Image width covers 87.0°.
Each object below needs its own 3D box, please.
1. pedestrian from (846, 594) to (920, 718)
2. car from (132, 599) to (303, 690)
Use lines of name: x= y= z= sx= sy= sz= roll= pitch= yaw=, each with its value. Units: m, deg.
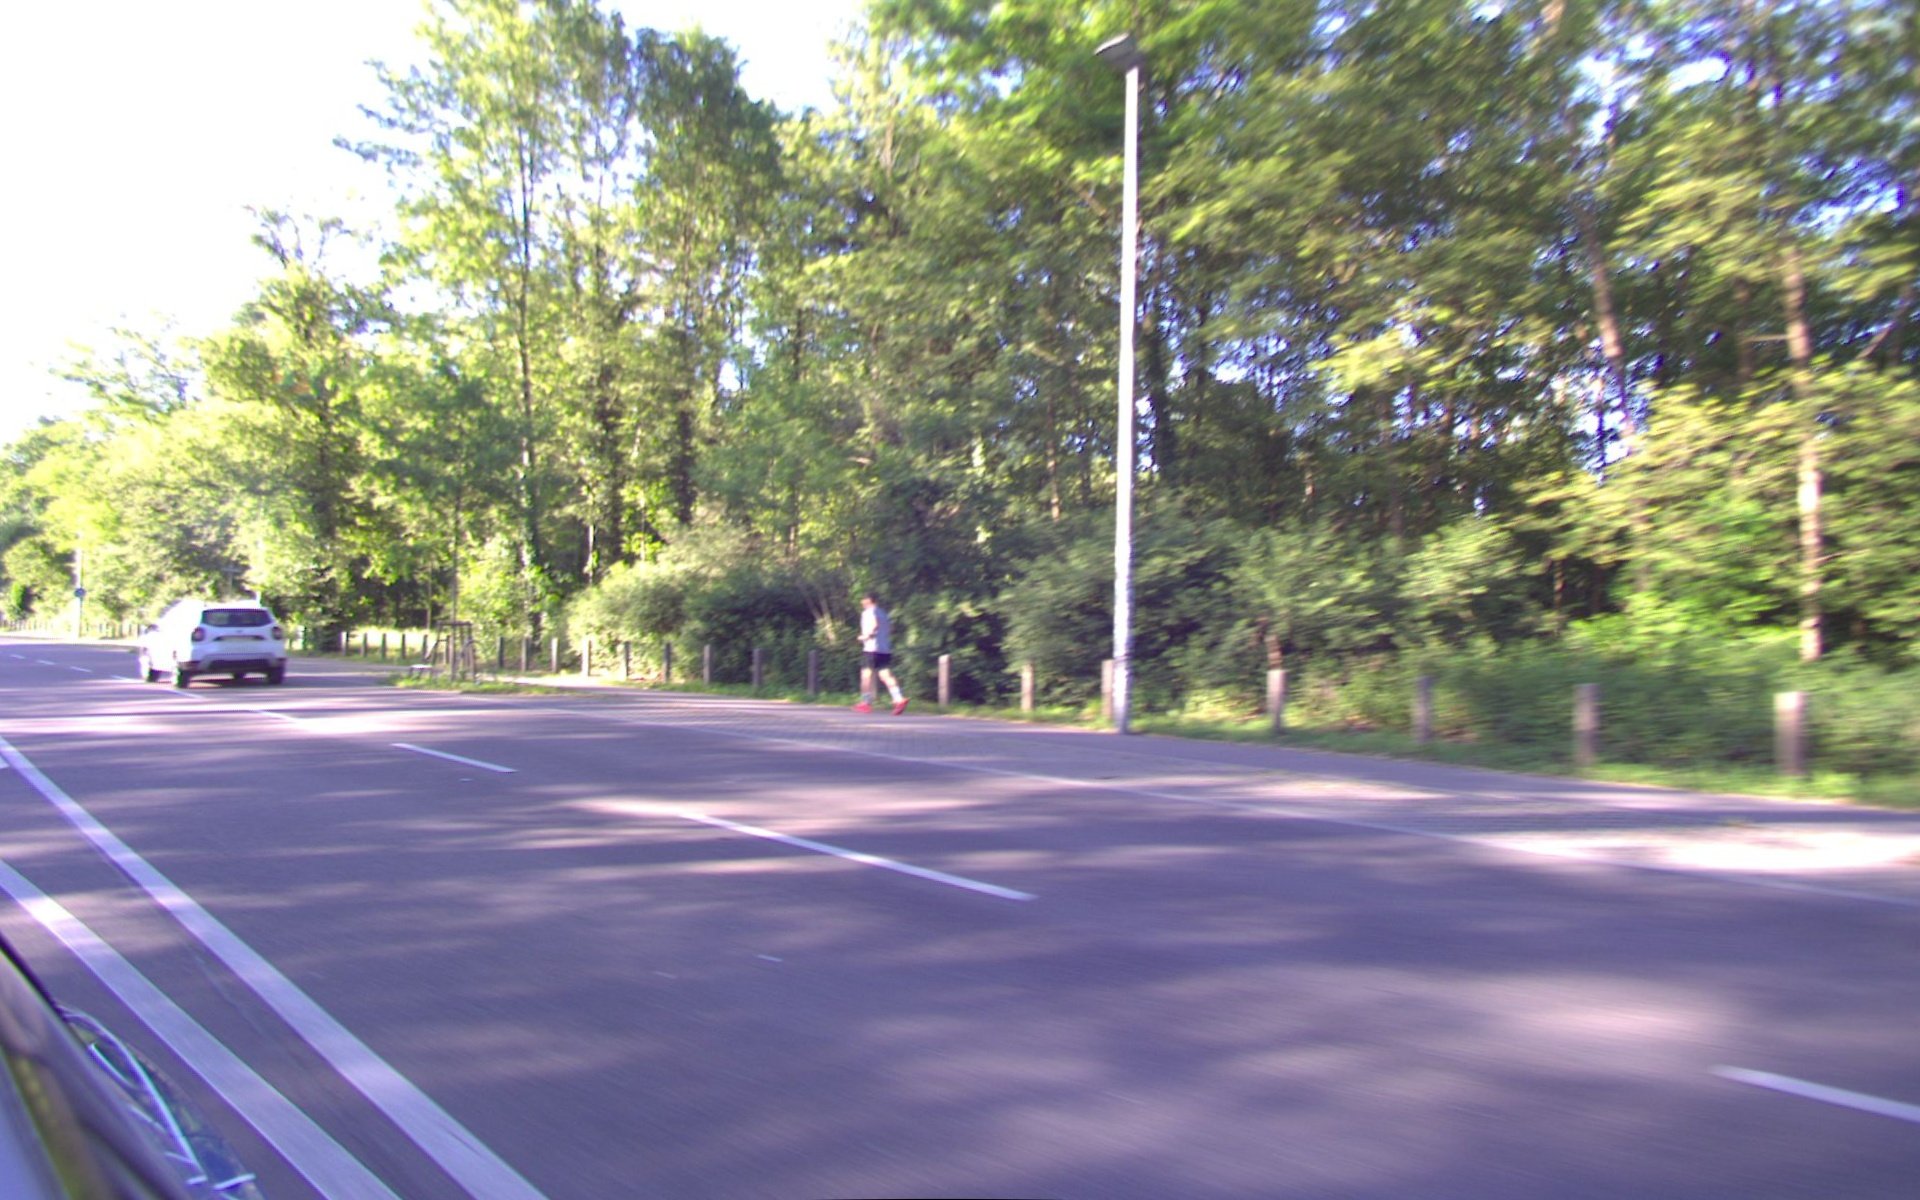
pedestrian: x=-1.143 y=0.828 z=15.155 sx=0.737 sy=1.781 sz=0.763 roll=0 pitch=-3 yaw=38
car: x=-15.379 y=0.854 z=20.877 sx=4.447 sy=1.672 sz=1.972 roll=-1 pitch=-1 yaw=42
